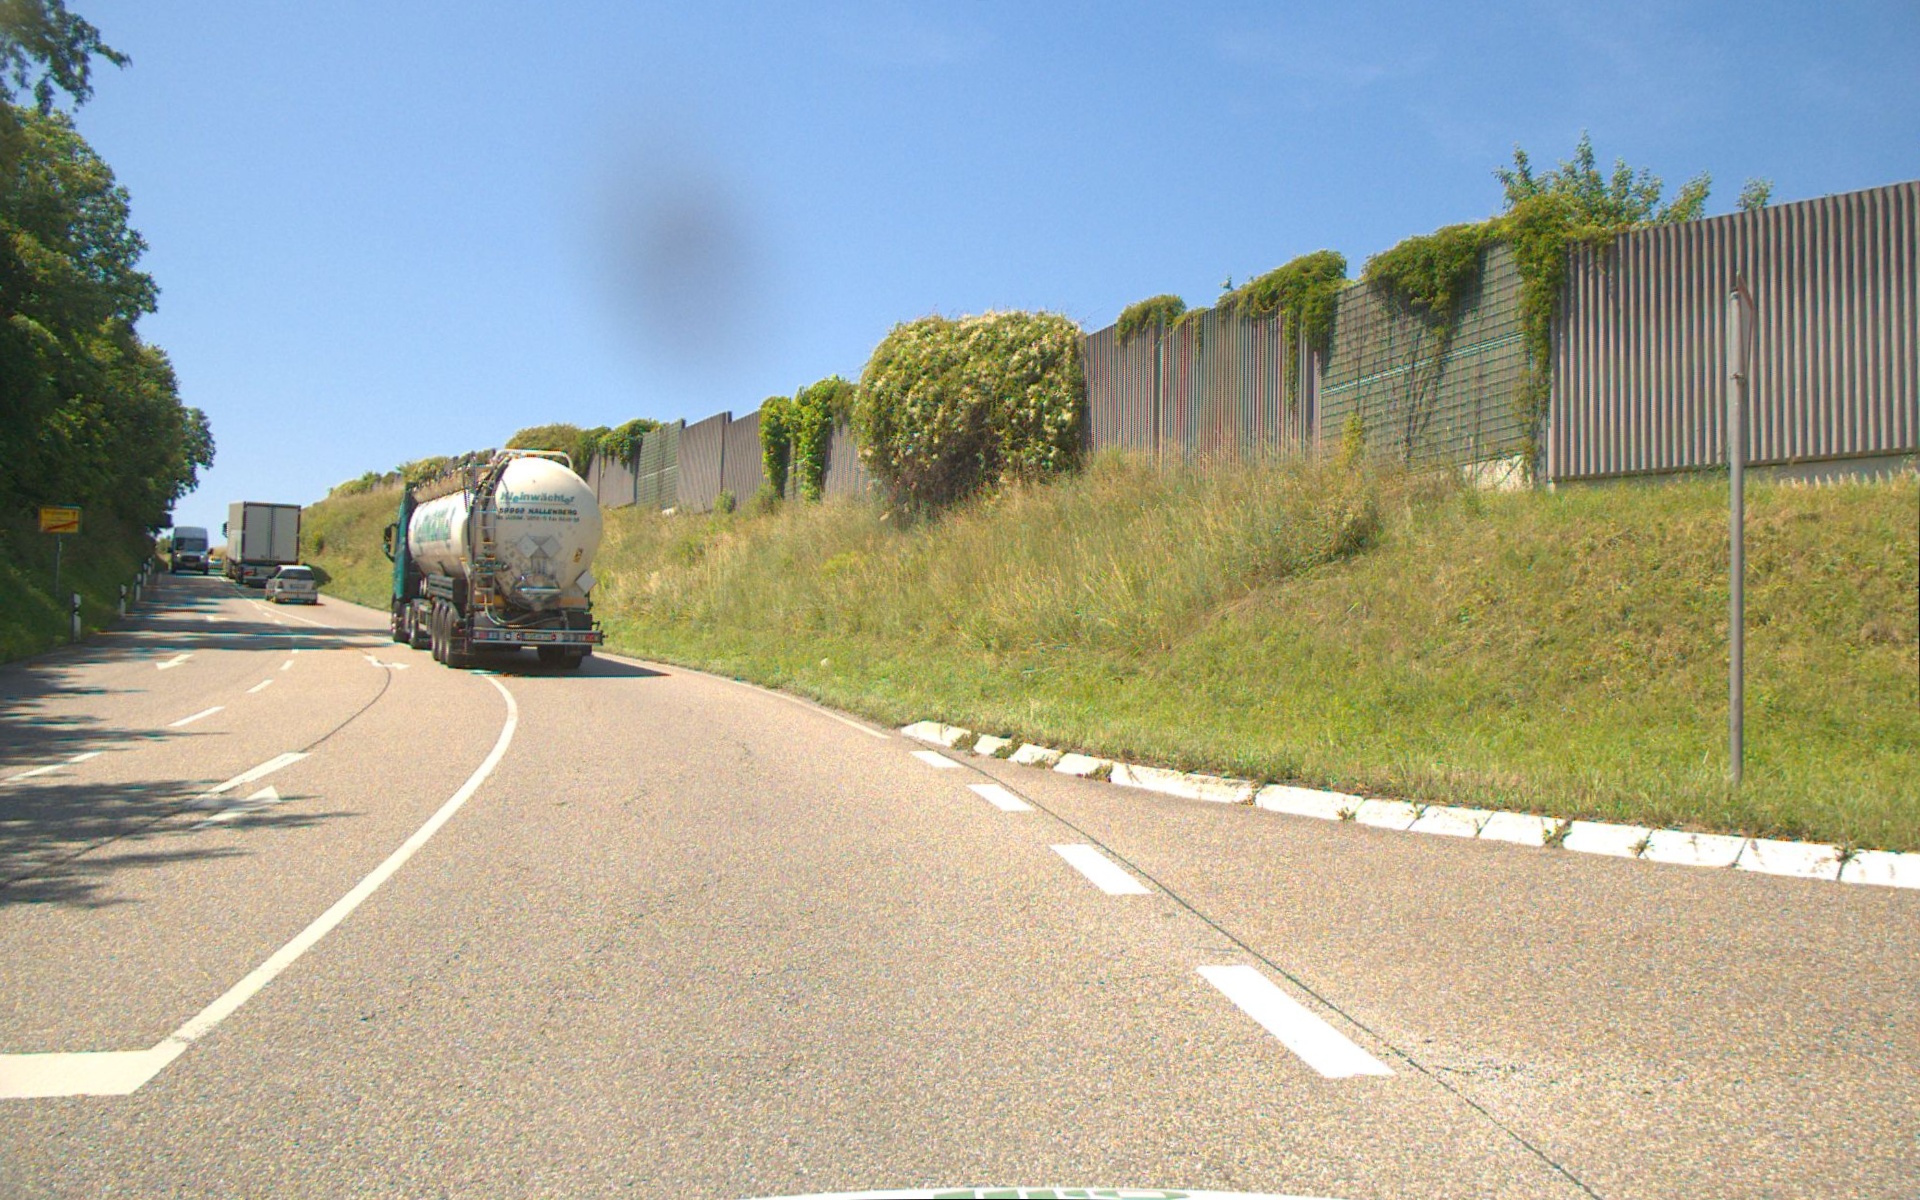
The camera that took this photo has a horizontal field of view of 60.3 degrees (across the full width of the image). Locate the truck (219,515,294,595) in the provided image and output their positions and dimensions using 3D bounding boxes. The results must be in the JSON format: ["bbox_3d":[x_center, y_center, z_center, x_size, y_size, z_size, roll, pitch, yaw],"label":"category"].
[{"bbox_3d":[-38.380,-2.399,90.097,3.152,4.002,8.182,3,0,-26],"label":"truck"}]

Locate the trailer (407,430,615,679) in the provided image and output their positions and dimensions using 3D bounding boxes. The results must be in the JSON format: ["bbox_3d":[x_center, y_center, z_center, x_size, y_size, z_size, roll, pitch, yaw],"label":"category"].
[{"bbox_3d":[-9.621,-0.855,34.278,2.625,4.261,11.820,0,1,-23],"label":"trailer"}]

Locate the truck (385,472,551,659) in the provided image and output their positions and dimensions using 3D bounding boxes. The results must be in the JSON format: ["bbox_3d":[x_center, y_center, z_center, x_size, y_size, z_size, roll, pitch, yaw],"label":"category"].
[{"bbox_3d":[-11.807,-0.819,39.235,2.693,3.998,7.204,0,1,-26],"label":"truck"}]

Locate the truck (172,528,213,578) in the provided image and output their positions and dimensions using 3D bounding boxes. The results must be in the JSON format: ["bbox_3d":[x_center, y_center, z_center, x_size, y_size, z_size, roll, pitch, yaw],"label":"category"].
[{"bbox_3d":[-45.289,-2.794,97.638,2.027,2.733,5.935,2,2,-25],"label":"truck"}]

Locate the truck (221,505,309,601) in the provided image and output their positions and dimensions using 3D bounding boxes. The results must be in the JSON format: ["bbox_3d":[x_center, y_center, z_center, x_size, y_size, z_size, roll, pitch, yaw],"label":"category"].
[{"bbox_3d":[-35.787,-2.438,84.875,3.152,4.384,11.700,5,0,-27],"label":"truck"}]

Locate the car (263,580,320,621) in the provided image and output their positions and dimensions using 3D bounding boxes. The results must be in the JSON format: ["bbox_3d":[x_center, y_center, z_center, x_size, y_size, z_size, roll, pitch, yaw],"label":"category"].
[{"bbox_3d":[-27.587,0.020,68.241,1.630,1.536,3.603,5,-2,-29],"label":"car"}]
